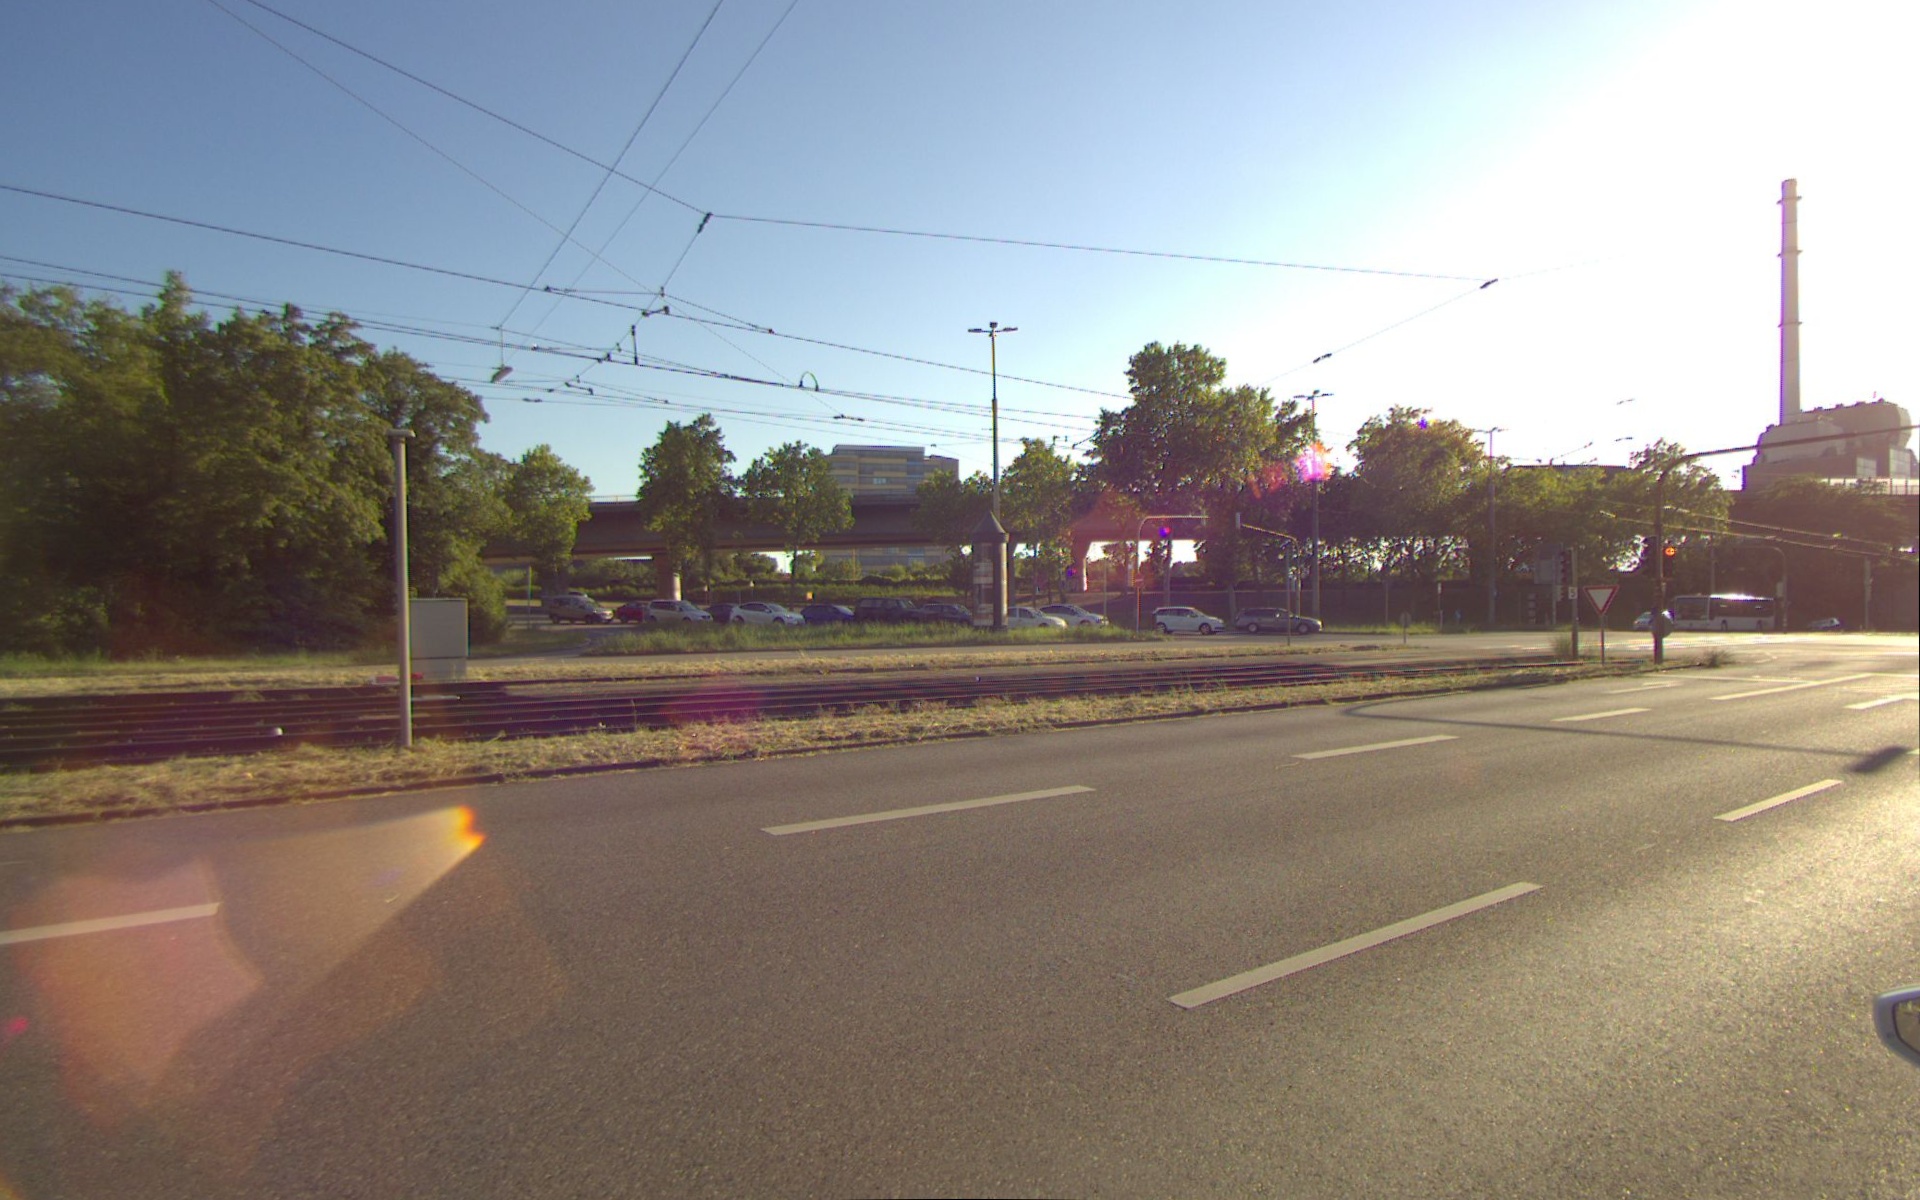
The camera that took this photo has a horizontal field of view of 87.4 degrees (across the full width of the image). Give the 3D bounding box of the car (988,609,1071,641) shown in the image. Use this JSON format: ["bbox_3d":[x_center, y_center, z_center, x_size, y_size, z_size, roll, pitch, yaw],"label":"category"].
[{"bbox_3d":[3.534,1.248,51.369,3.928,1.596,1.691,0,0,29],"label":"car"}]

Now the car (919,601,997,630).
[{"bbox_3d":[-0.129,0.872,57.193,4.171,1.596,1.691,0,0,28],"label":"car"}]

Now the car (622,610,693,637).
[{"bbox_3d":[-19.992,1.506,66.350,4.327,1.701,1.693,0,0,21],"label":"car"}]

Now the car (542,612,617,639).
[{"bbox_3d":[-24.387,1.612,64.404,4.325,1.701,1.694,0,0,16],"label":"car"}]

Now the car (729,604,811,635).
[{"bbox_3d":[-11.076,1.121,58.478,4.678,1.596,1.691,1,2,26],"label":"car"}]

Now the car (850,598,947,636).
[{"bbox_3d":[-3.342,0.913,54.607,4.850,2.017,2.036,0,0,24],"label":"car"}]

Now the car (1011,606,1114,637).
[{"bbox_3d":[5.482,1.120,54.090,5.274,1.596,1.737,0,0,32],"label":"car"}]

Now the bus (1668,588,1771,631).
[{"bbox_3d":[61.595,0.884,81.293,12.781,3.171,2.529,2,-2,-34],"label":"bus"}]

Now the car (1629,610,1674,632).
[{"bbox_3d":[50.980,1.503,74.011,3.971,1.532,1.594,0,0,-38],"label":"car"}]

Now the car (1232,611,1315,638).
[{"bbox_3d":[17.594,1.338,56.327,4.357,1.423,1.670,0,0,20],"label":"car"}]

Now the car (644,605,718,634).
[{"bbox_3d":[-16.978,1.165,61.137,4.206,1.653,1.692,0,0,24],"label":"car"}]

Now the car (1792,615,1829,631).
[{"bbox_3d":[78.488,2.105,92.707,3.966,1.438,1.596,0,0,-34],"label":"car"}]

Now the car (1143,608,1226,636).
[{"bbox_3d":[12.180,1.186,54.560,4.119,1.423,1.668,0,0,27],"label":"car"}]

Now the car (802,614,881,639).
[{"bbox_3d":[-7.208,1.593,61.052,4.538,1.478,1.692,0,0,25],"label":"car"}]
